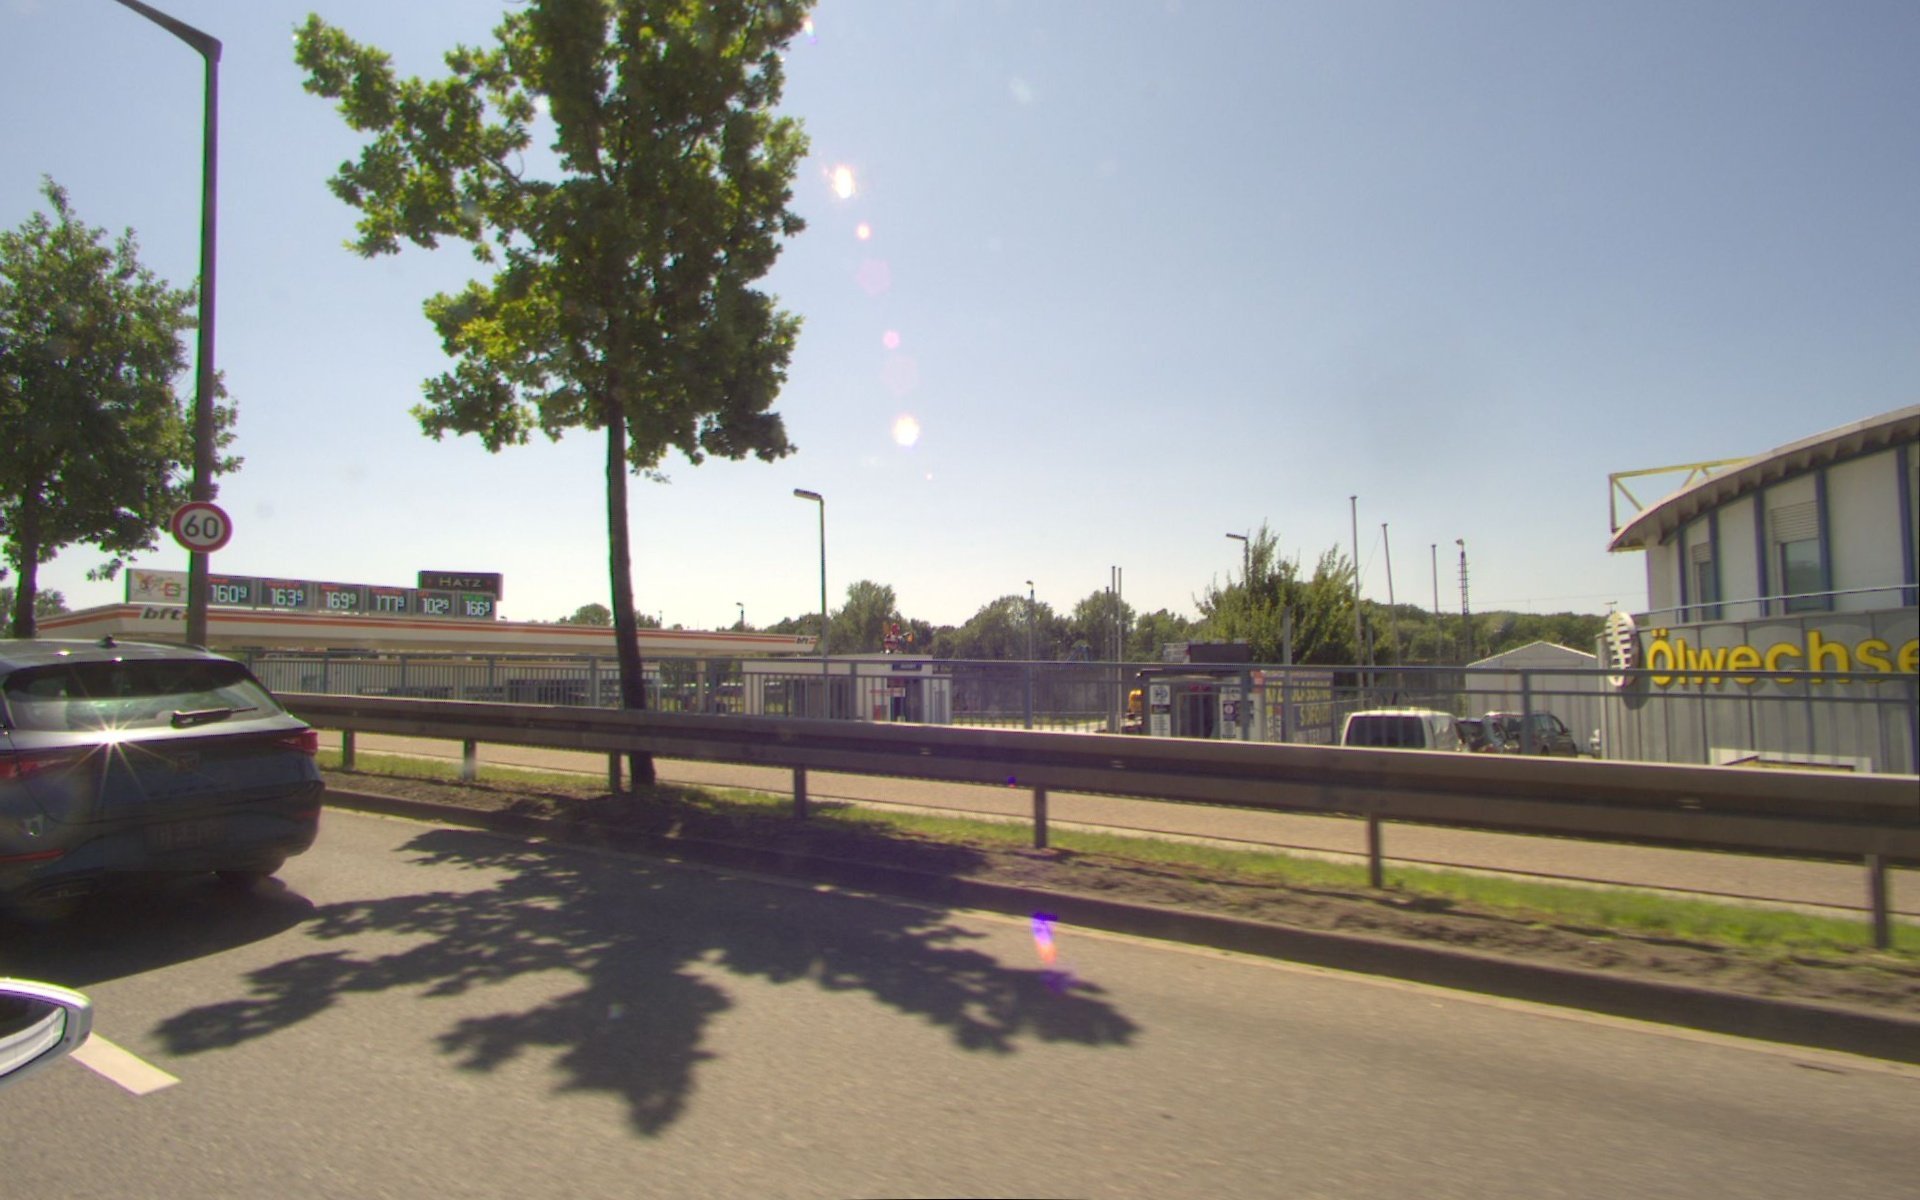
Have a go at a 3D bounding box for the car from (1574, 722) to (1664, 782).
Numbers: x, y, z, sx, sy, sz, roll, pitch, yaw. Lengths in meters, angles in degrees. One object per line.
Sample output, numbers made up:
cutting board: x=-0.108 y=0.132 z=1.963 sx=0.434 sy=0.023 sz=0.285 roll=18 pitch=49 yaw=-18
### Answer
car: x=21.125 y=4.801 z=32.043 sx=1.672 sy=1.571 sz=3.965 roll=-4 pitch=-5 yaw=44

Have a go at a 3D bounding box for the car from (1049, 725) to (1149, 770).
car: x=3.868 y=4.089 z=27.991 sx=2.524 sy=1.091 sz=1.104 roll=-3 pitch=-4 yaw=33

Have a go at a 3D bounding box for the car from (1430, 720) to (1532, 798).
car: x=12.885 y=3.829 z=24.647 sx=1.454 sy=1.492 sz=4.120 roll=-3 pitch=-4 yaw=38

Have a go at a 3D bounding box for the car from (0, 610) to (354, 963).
car: x=-5.545 y=0.909 z=5.804 sx=4.171 sy=1.473 sz=1.604 roll=-3 pitch=-4 yaw=29

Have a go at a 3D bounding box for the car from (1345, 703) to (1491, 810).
car: x=9.182 y=2.980 z=19.873 sx=1.577 sy=1.680 sz=4.579 roll=-3 pitch=-4 yaw=38

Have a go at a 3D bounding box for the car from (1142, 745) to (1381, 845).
car: x=4.589 y=2.996 z=15.563 sx=3.253 sy=1.324 sz=1.466 roll=-1 pitch=-3 yaw=2

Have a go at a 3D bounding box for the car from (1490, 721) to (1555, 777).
car: x=16.215 y=4.246 z=28.827 sx=1.209 sy=1.366 sz=2.696 roll=-3 pitch=-4 yaw=38

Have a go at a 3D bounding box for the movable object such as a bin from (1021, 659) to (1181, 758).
movable object such as a bin: x=6.474 y=4.486 z=43.695 sx=2.993 sy=3.752 sz=11.036 roll=-3 pitch=-4 yaw=30
